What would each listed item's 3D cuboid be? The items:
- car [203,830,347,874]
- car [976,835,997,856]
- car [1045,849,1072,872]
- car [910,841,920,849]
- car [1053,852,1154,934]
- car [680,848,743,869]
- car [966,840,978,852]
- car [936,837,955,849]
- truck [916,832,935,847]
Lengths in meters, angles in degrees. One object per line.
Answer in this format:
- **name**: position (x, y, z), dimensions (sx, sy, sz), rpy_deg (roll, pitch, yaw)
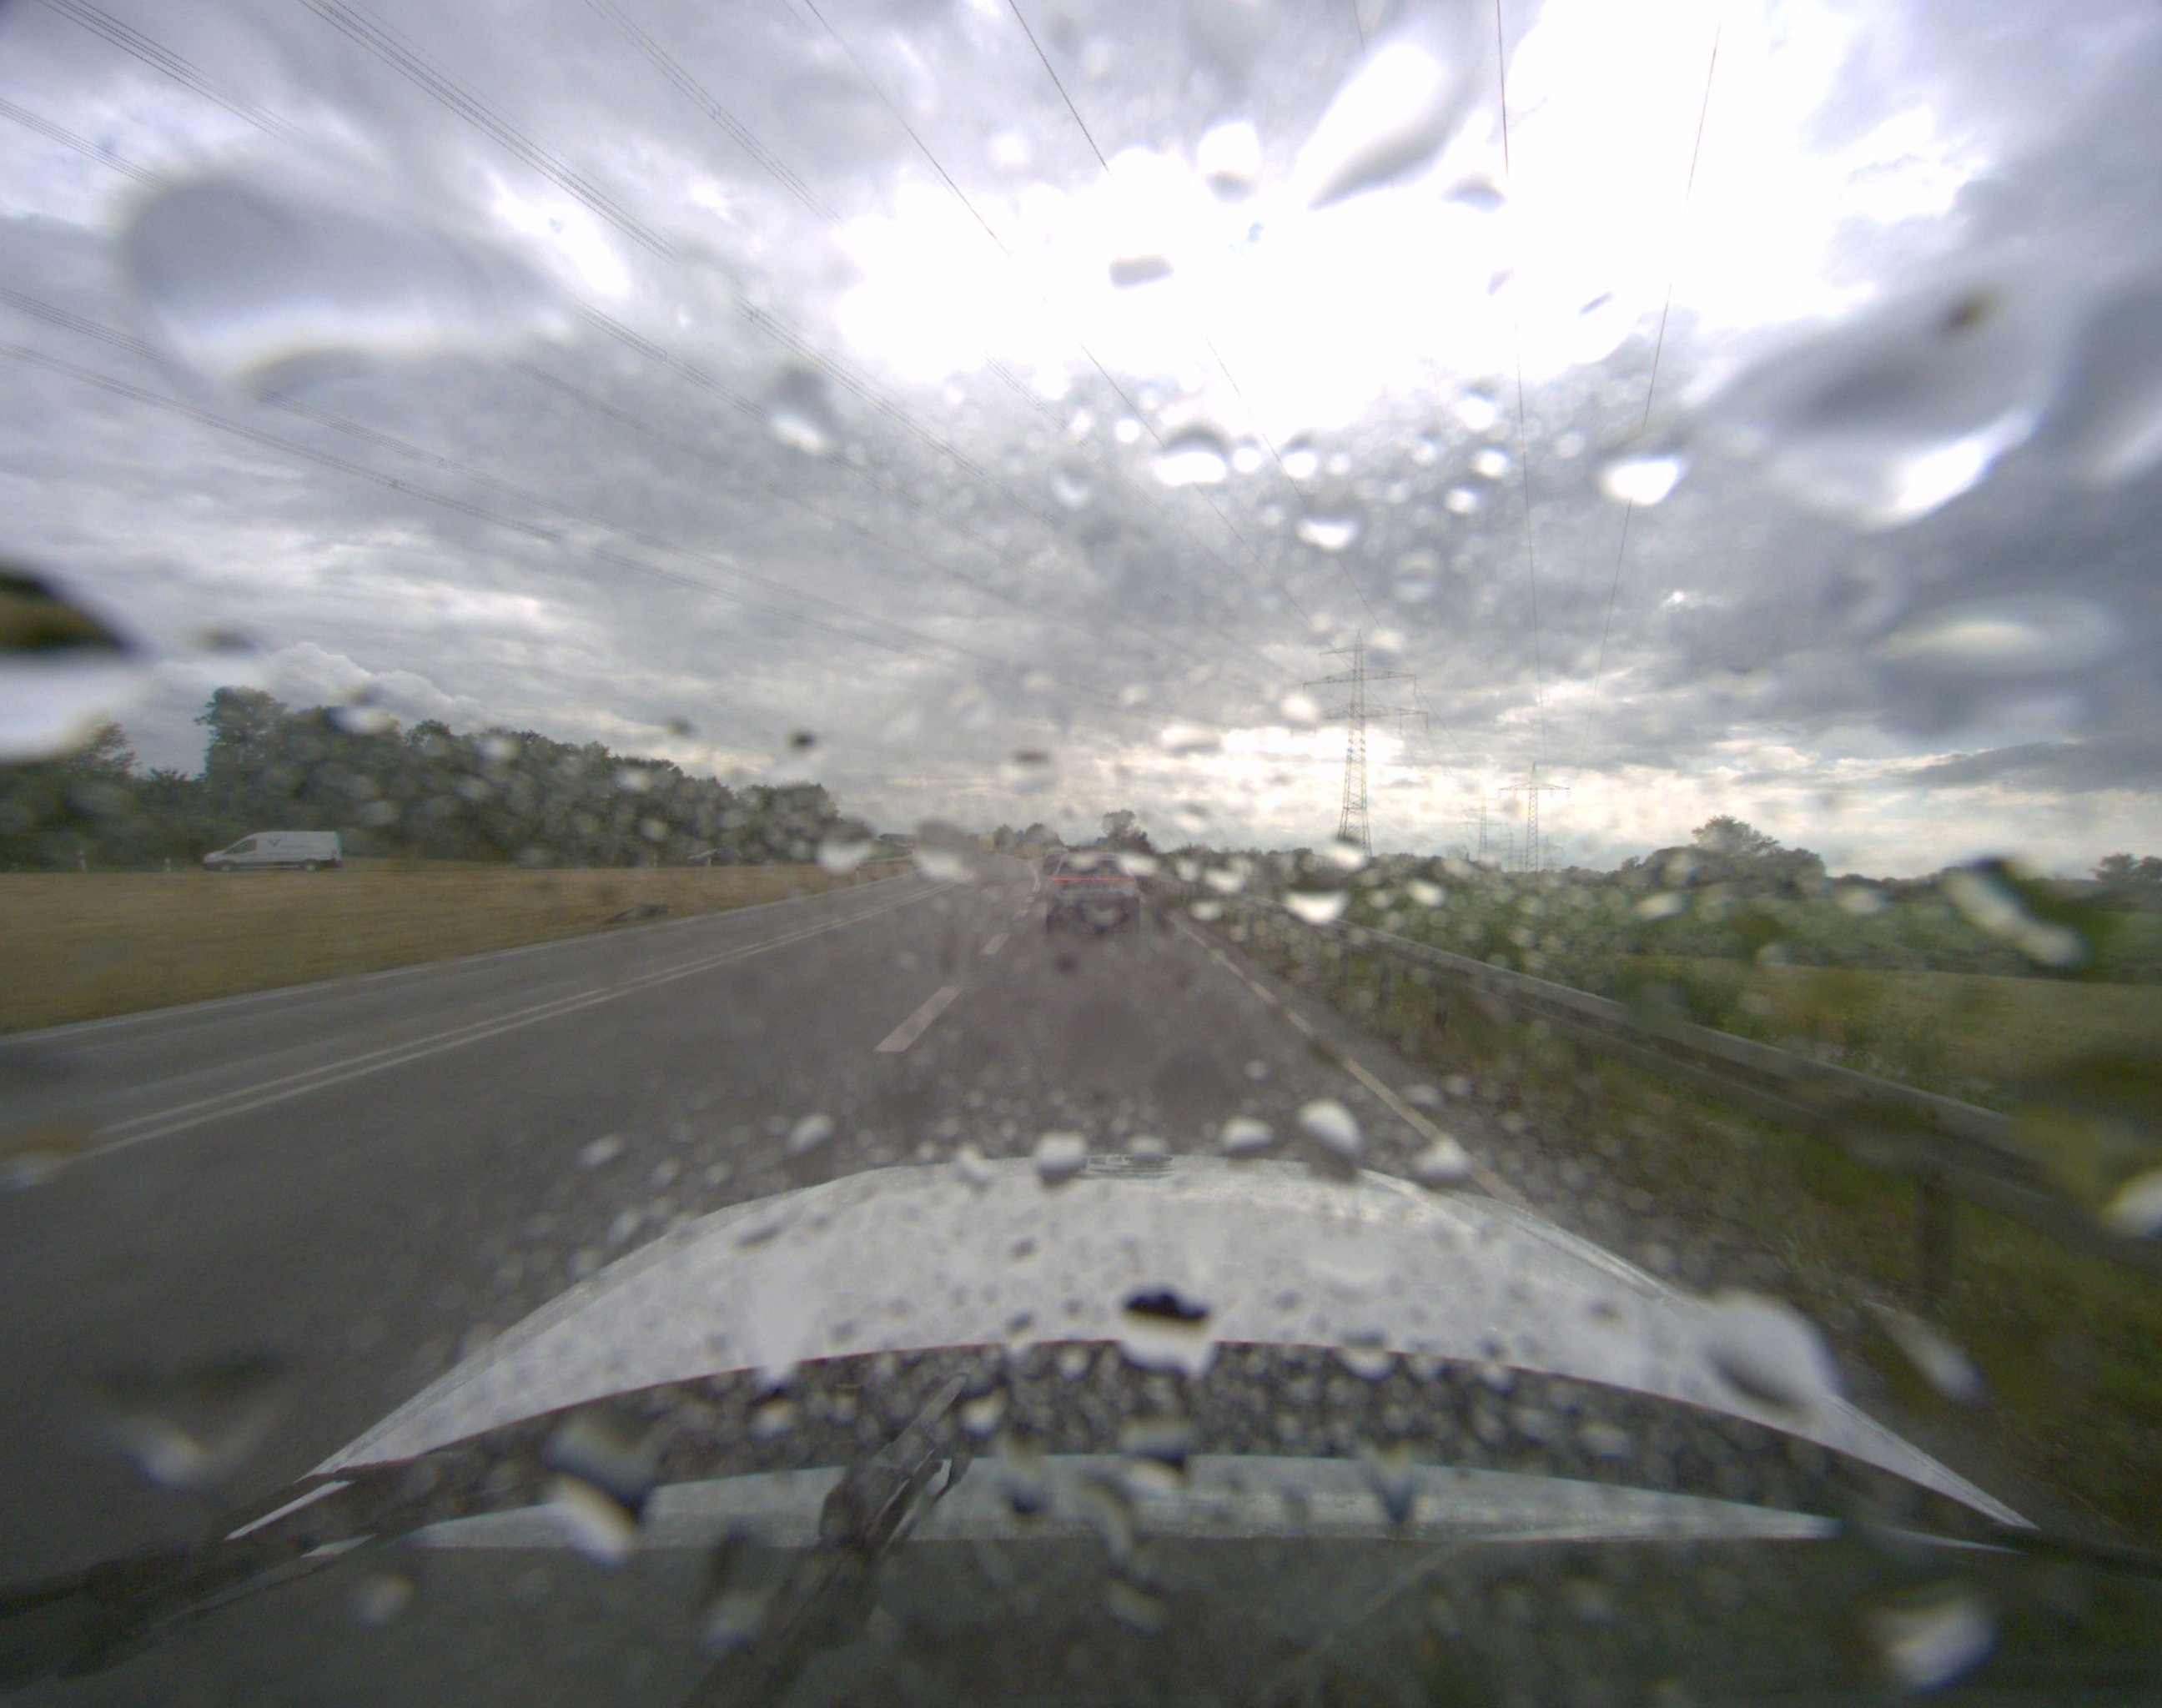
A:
- **car**: position (-45.871, -0.069, 46.588), dimensions (5.494, 2.391, 2.415), rpy_deg (1, -1, -37)
- **car**: position (-12.765, -1.218, 110.015), dimensions (2.571, 2.725, 7.179), rpy_deg (-2, 1, -7)
- **car**: position (-1.579, 0.433, 55.624), dimensions (1.787, 1.441, 3.996), rpy_deg (0, 0, -2)
- **car**: position (-31.587, -1.724, 155.216), dimensions (1.746, 1.365, 4.033), rpy_deg (-3, 0, -12)
- **car**: position (0.447, 0.716, 16.508), dimensions (1.785, 1.441, 4.001), rpy_deg (0, -1, 1)
- **car**: position (-28.383, 0.313, 62.574), dimensions (1.962, 1.603, 3.940), rpy_deg (0, 0, 41)
- **car**: position (-17.385, -1.293, 129.639), dimensions (1.791, 1.688, 3.987), rpy_deg (0, -1, -9)
- **car**: position (-28.083, -2.167, 168.717), dimensions (2.613, 2.251, 5.493), rpy_deg (1, -2, -22)
- **truck**: position (-37.325, -3.443, 194.941), dimensions (3.058, 3.385, 7.587), rpy_deg (1, -2, -22)
